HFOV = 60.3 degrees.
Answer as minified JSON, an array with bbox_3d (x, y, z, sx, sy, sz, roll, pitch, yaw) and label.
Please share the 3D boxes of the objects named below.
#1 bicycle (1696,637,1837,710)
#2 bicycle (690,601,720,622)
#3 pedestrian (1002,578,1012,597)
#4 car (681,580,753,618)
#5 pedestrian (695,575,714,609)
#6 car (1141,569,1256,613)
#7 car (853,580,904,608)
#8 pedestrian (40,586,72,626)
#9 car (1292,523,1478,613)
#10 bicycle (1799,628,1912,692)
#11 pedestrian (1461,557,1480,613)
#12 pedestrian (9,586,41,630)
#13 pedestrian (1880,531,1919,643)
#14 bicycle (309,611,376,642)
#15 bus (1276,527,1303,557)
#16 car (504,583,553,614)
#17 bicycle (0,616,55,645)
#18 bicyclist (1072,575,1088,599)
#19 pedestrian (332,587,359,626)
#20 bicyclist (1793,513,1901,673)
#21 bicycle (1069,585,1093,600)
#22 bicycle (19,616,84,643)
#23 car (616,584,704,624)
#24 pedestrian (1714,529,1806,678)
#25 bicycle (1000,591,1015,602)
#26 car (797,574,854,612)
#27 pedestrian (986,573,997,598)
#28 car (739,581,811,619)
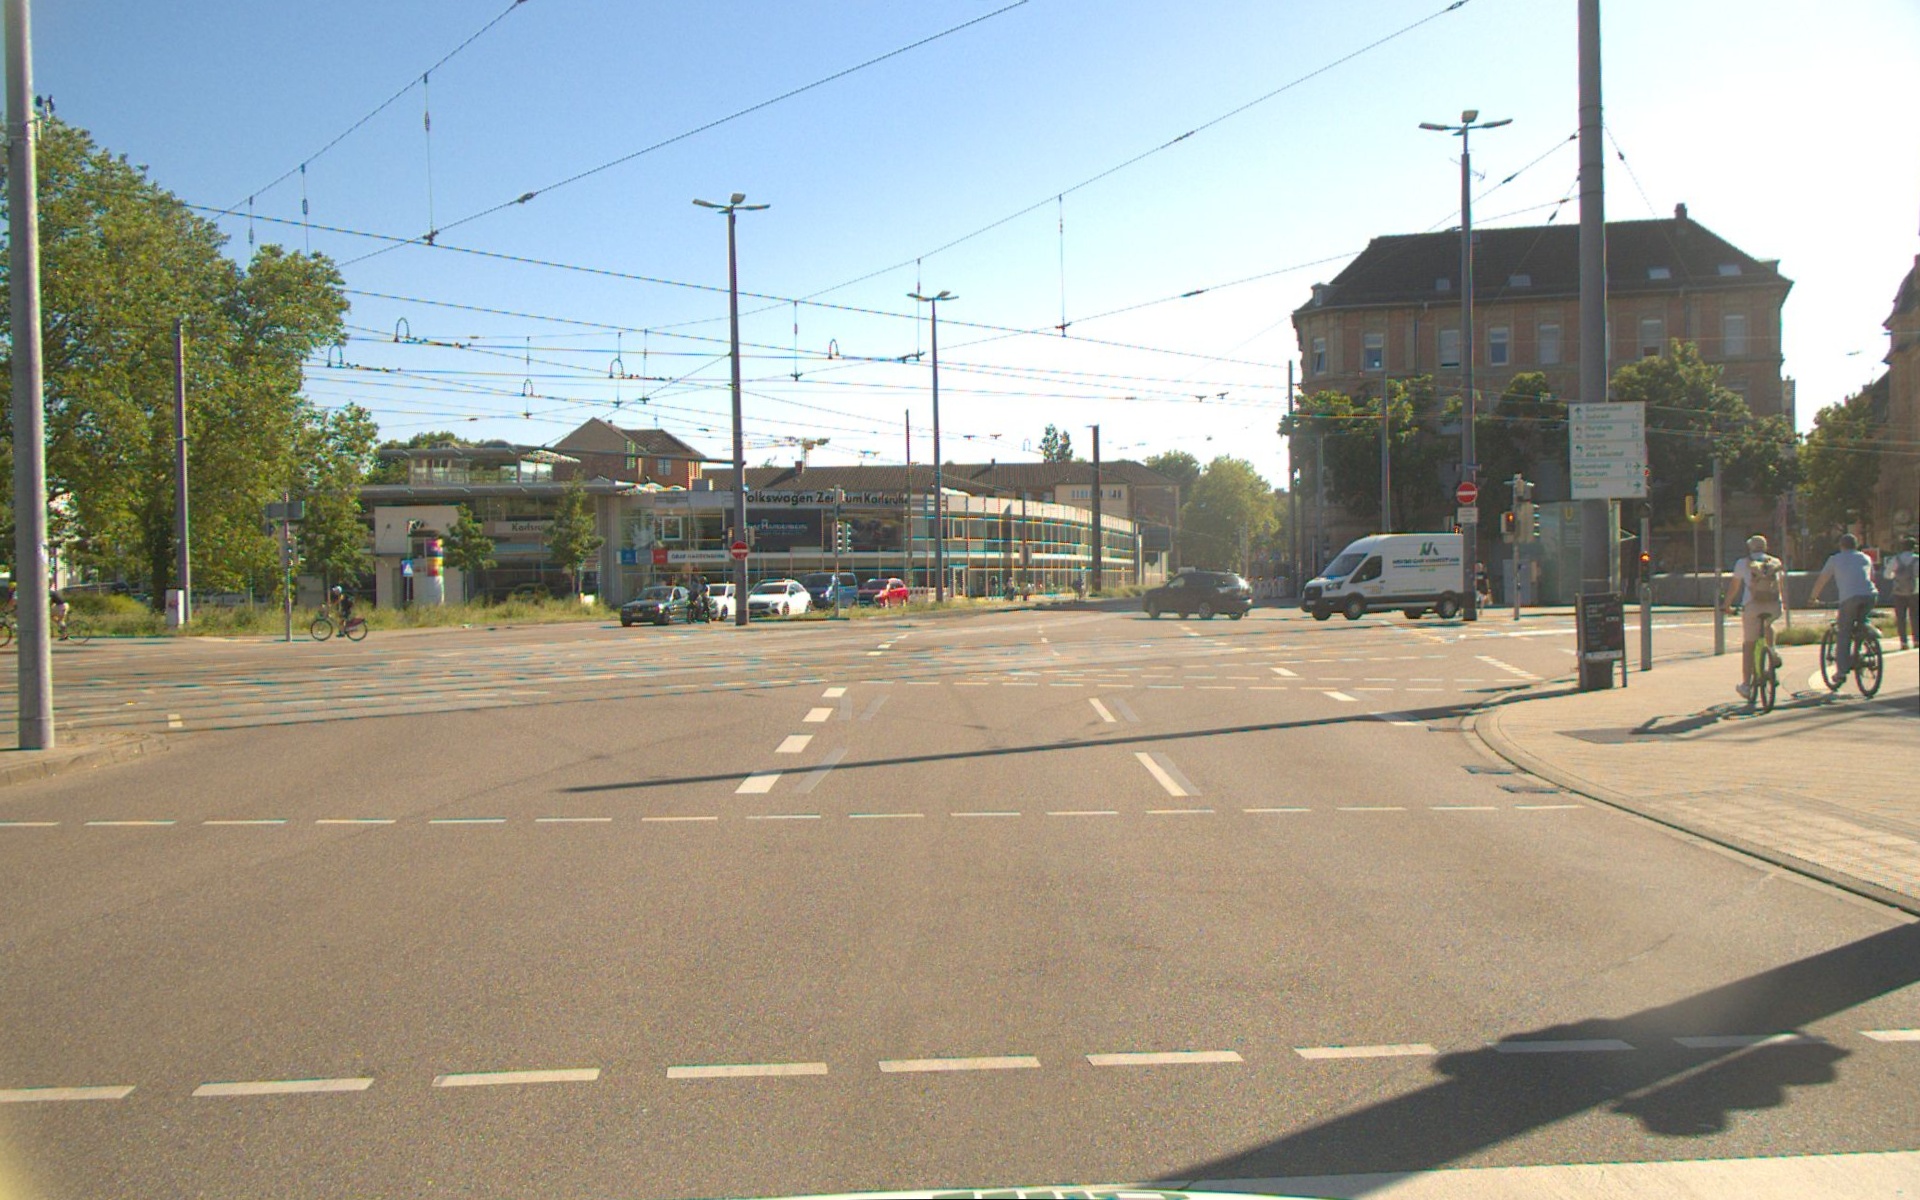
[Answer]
[{"bbox_3d":[8.834,0.790,18.186,0.527,0.667,1.723,-4,1,-6],"label":"bicycle"},{"bbox_3d":[-9.312,0.426,60.395,0.413,0.730,1.636,-1,1,16],"label":"bicycle"},{"bbox_3d":[3.127,-0.850,109.375,0.414,1.225,0.680,-1,0,25],"label":"pedestrian"},{"bbox_3d":[-9.762,-0.051,66.764,1.591,1.448,3.689,-1,1,14],"label":"car"},{"bbox_3d":[-9.331,-0.294,60.383,0.413,1.225,0.750,-1,0,16],"label":"pedestrian"},{"bbox_3d":[8.630,-0.318,60.073,1.686,1.529,4.210,-1,1,-36],"label":"car"},{"bbox_3d":[-4.215,-0.323,86.109,1.591,1.388,3.688,-1,1,16],"label":"car"},{"bbox_3d":[-26.379,0.171,48.276,0.736,1.146,0.421,-1,0,-21],"label":"pedestrian"},{"bbox_3d":[13.893,-1.056,54.020,5.824,2.792,2.129,-1,0,-23],"label":"car"},{"bbox_3d":[10.461,0.689,19.367,0.526,0.667,1.468,-2,1,0],"label":"bicycle"},{"bbox_3d":[18.870,-0.570,61.117,0.453,2.049,0.449,-1,1,-18],"label":"pedestrian"},{"bbox_3d":[-26.447,0.217,46.777,0.737,1.225,0.421,-1,0,-24],"label":"pedestrian"},{"bbox_3d":[16.362,-0.226,28.424,0.880,1.892,0.924,-1,0,34],"label":"pedestrian"},{"bbox_3d":[-19.784,0.843,53.001,1.975,0.929,0.559,-1,1,-20],"label":"bicycle"},{"bbox_3d":[49.814,-8.594,249.708,3.754,3.670,24.887,1,0,12],"label":"bus"},{"bbox_3d":[-25.940,-0.109,99.571,1.926,1.735,4.083,-1,1,-1],"label":"car"},{"bbox_3d":[-26.514,0.862,46.745,1.607,0.772,0.421,-1,0,-24],"label":"bicycle"},{"bbox_3d":[8.508,-0.925,117.581,0.795,1.652,0.927,-1,0,31],"label":"bicyclist"},{"bbox_3d":[-19.693,0.213,53.031,0.782,1.225,0.557,-1,0,-19],"label":"pedestrian"},{"bbox_3d":[10.432,-0.083,19.476,0.732,1.809,0.924,-2,0,0],"label":"bicyclist"},{"bbox_3d":[8.624,-0.531,117.853,0.795,1.063,2.122,-1,1,31],"label":"bicycle"},{"bbox_3d":[-26.490,0.866,48.232,1.605,0.730,0.421,-1,0,-21],"label":"bicycle"},{"bbox_3d":[-10.988,0.134,60.791,1.667,1.378,3.703,-1,1,16],"label":"car"},{"bbox_3d":[8.789,0.035,18.196,0.537,1.590,0.857,-1,0,-5],"label":"pedestrian"},{"bbox_3d":[3.146,-0.221,109.397,0.414,0.730,1.474,-1,1,25],"label":"bicycle"},{"bbox_3d":[-6.395,-0.351,78.949,1.591,1.722,3.689,-1,1,14],"label":"car"},{"bbox_3d":[2.223,-1.019,116.695,0.532,1.718,0.629,-1,0,29],"label":"pedestrian"},{"bbox_3d":[-7.211,-0.023,64.920,1.591,1.406,3.741,-1,1,14],"label":"car"}]
